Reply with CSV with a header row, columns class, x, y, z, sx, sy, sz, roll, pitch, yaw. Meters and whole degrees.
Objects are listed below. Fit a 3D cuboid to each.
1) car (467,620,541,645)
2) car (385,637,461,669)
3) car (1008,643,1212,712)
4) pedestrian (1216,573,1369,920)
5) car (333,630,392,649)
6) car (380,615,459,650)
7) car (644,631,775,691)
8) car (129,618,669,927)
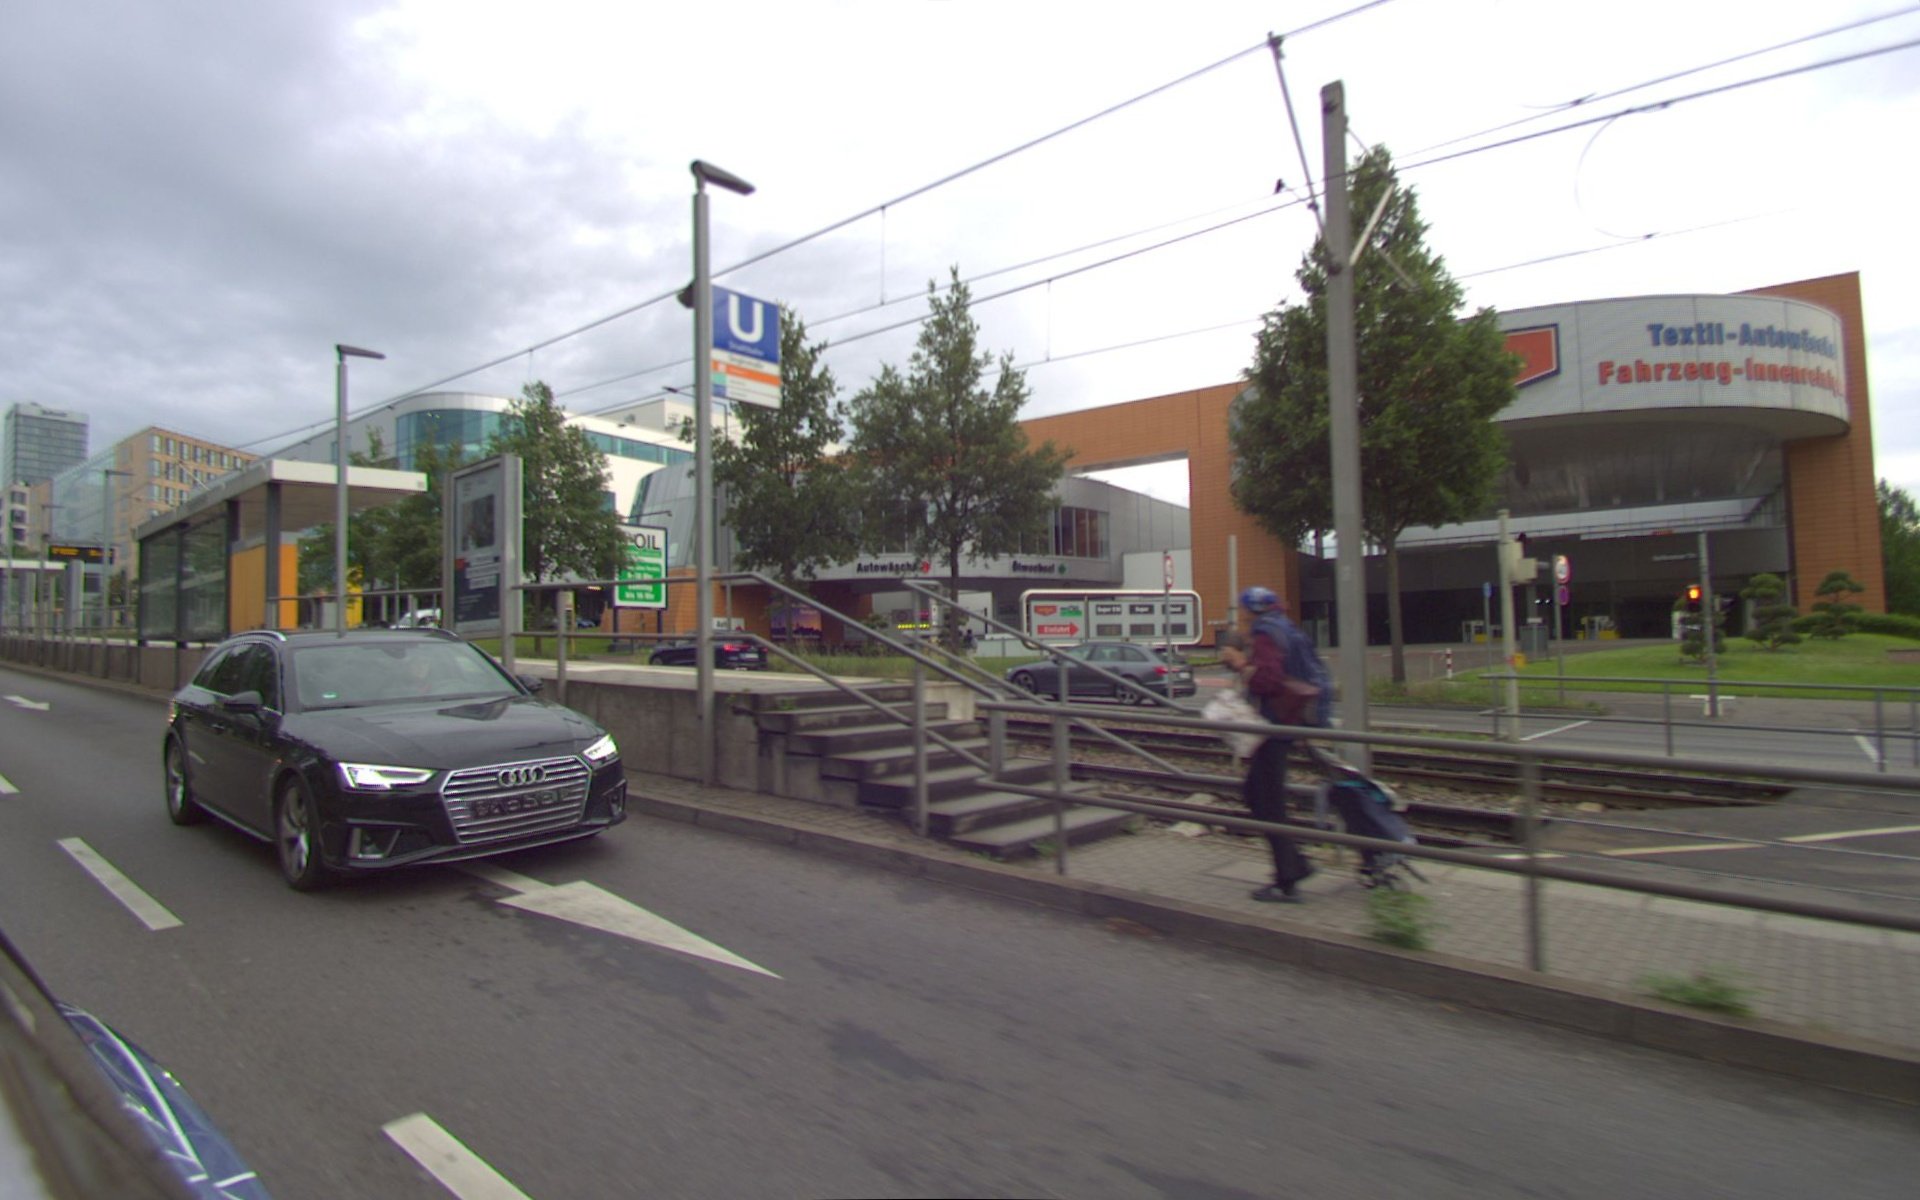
class,x,y,z,sx,sy,sz,roll,pitch,yaw
car,-39.353,2.785,87.484,2.274,1.941,5.420,-1,0,35
car,-28.981,2.834,54.518,4.702,1.529,1.974,-1,0,39
car,3.403,1.726,23.396,4.384,1.438,1.835,-2,-4,39
pedestrian,1.699,0.714,5.274,0.643,1.663,0.700,-1,-1,13
car,-51.715,3.393,87.633,1.891,1.519,3.956,-1,0,33
car,-43.999,2.583,82.486,2.265,2.649,5.441,-1,0,23
car,-8.133,1.903,32.647,4.387,1.788,1.972,-2,-2,41
car,-4.155,0.888,7.049,4.826,1.445,1.771,-2,-2,41
